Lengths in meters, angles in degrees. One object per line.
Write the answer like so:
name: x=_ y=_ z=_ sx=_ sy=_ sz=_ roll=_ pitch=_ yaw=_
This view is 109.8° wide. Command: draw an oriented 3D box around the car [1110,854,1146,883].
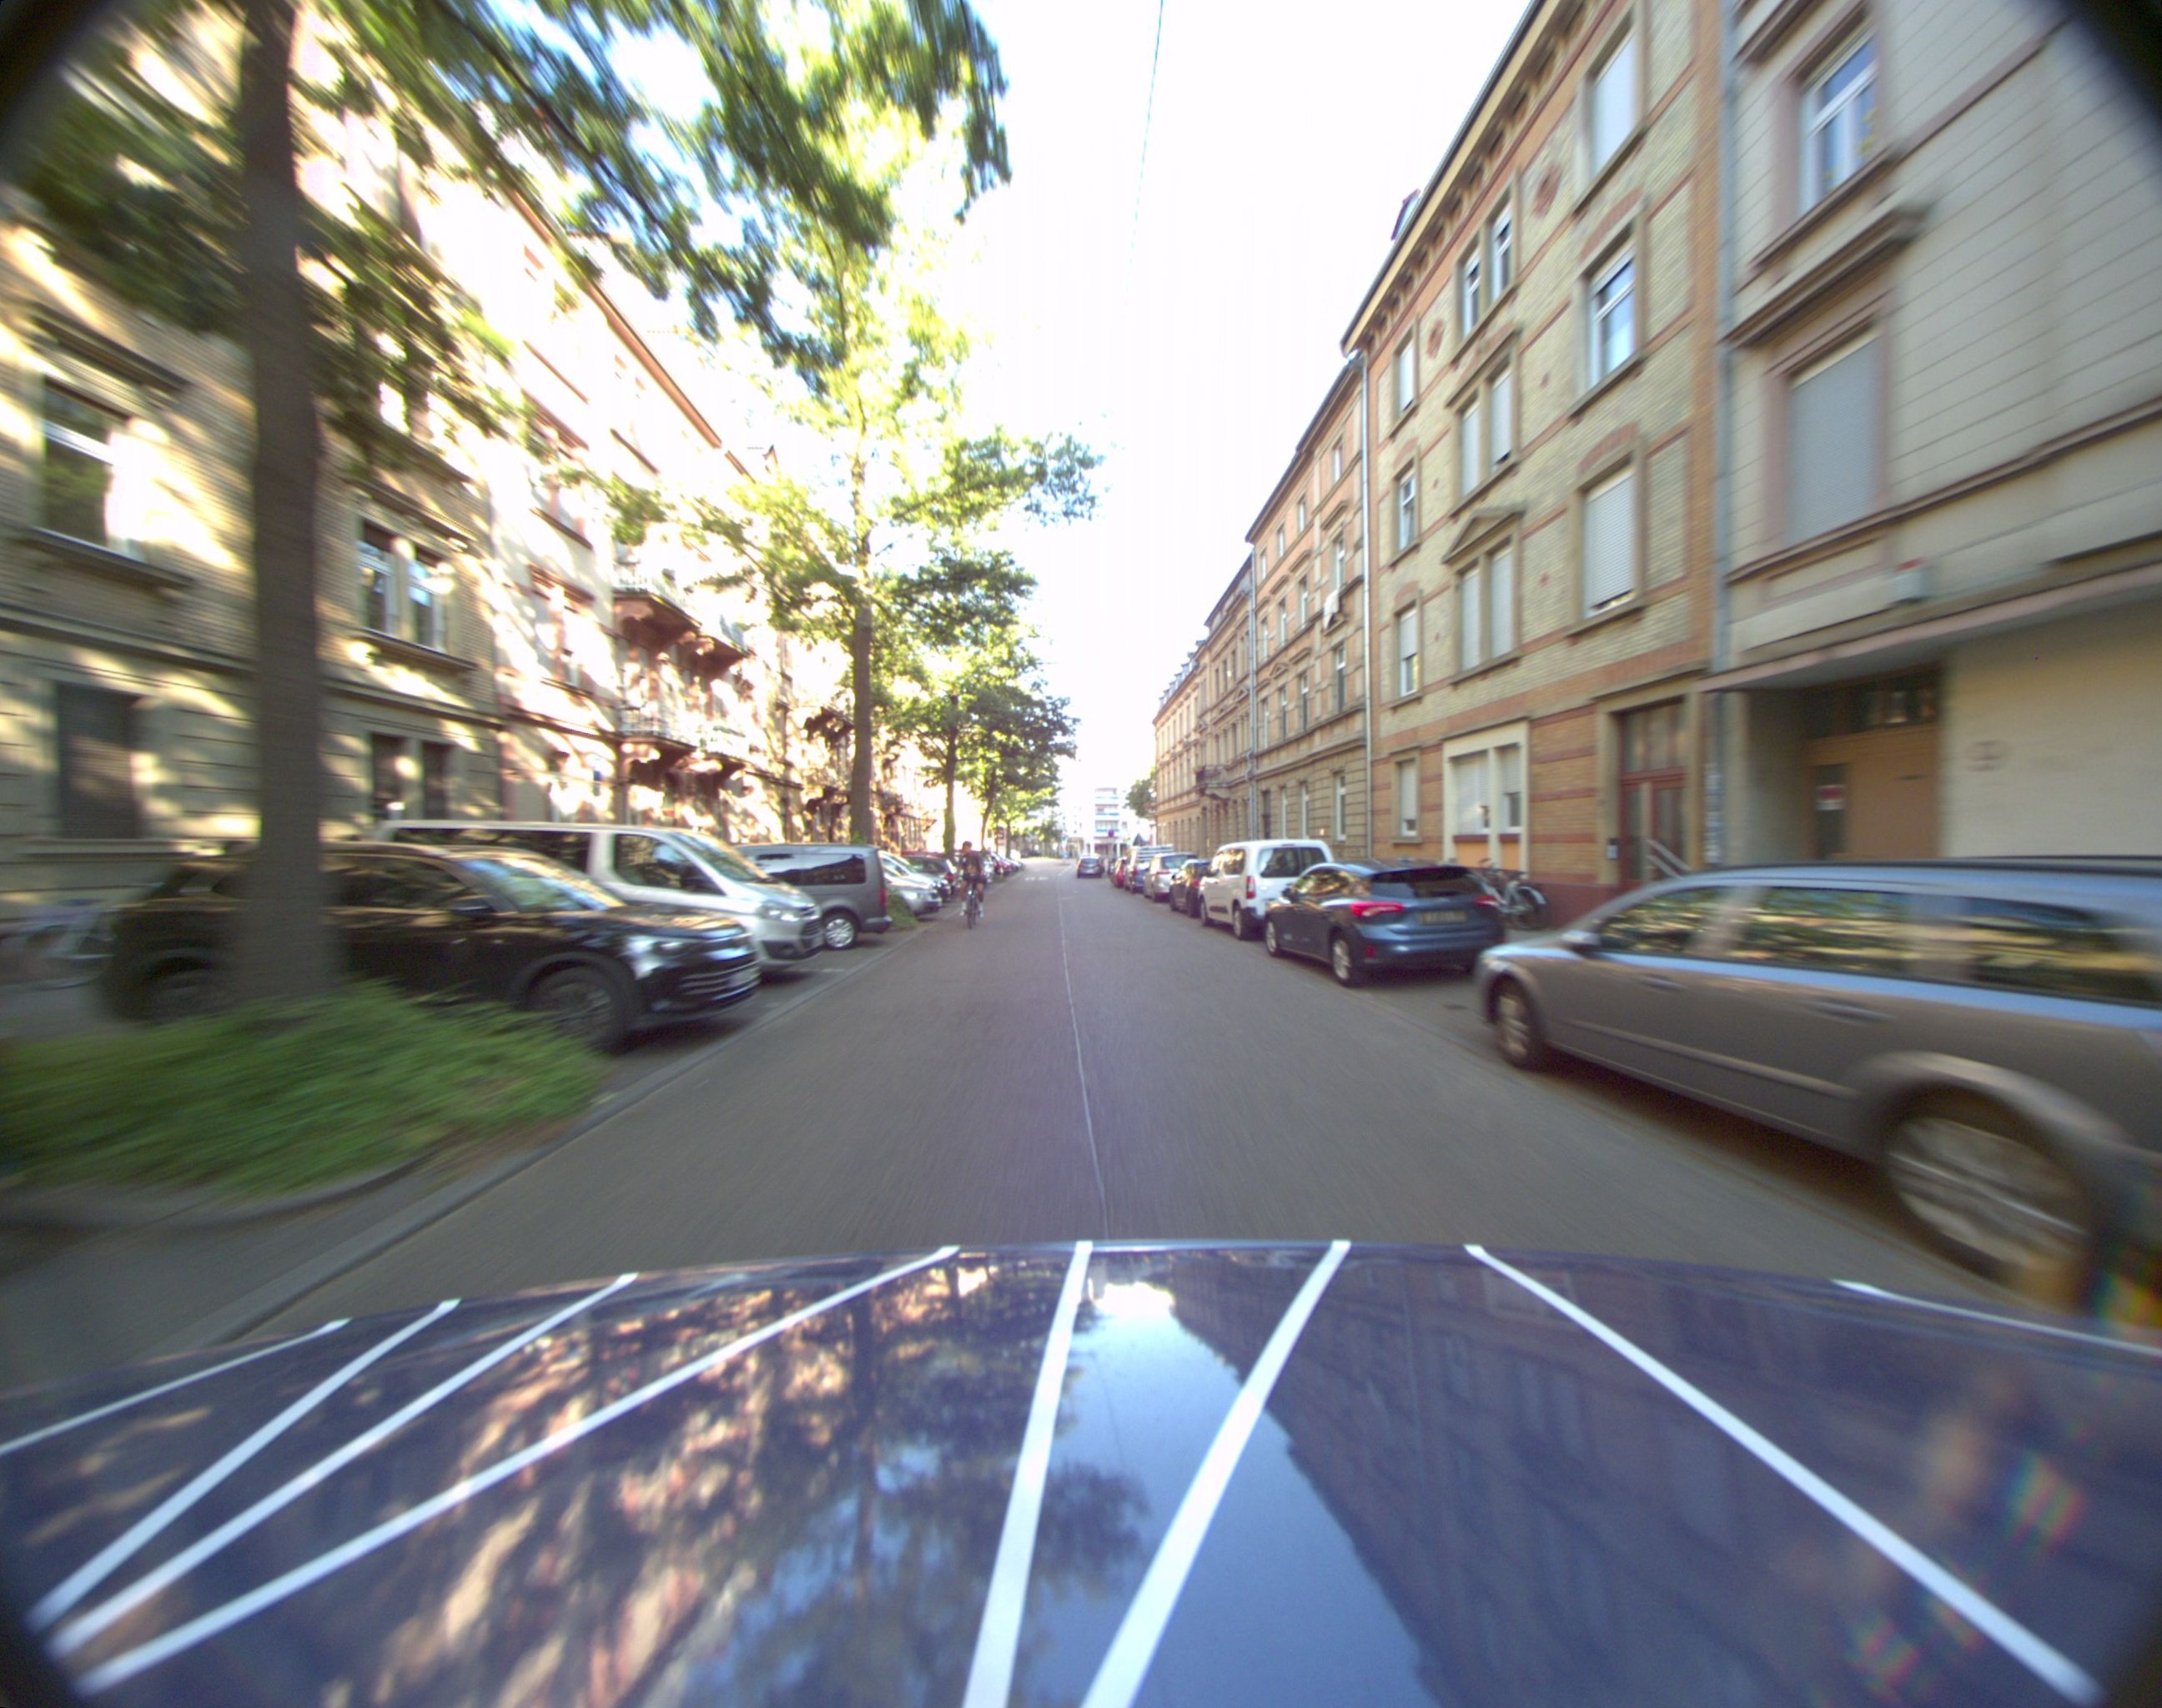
car: x=2.607 y=0.781 z=42.720 sx=1.641 sy=1.482 sz=3.824 roll=-2 pitch=0 yaw=-2

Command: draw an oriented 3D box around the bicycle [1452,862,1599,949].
bicycle: x=7.483 y=0.804 z=12.996 sx=0.630 sy=1.273 sz=2.667 roll=-1 pitch=0 yaw=-9

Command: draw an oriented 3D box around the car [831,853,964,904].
car: x=-6.313 y=0.824 z=26.505 sx=4.244 sy=1.579 sz=1.738 roll=2 pitch=0 yaw=-3

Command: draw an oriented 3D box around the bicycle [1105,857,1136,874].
bicycle: x=2.721 y=0.779 z=51.991 sx=2.043 sy=1.092 sz=0.587 roll=-2 pitch=1 yaw=0

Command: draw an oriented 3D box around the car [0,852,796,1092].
car: x=-5.268 y=0.870 z=6.413 sx=4.934 sy=1.623 sz=2.077 roll=2 pitch=0 yaw=-5

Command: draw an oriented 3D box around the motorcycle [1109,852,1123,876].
motorcycle: x=2.252 y=0.604 z=49.160 sx=0.624 sy=1.482 sz=2.489 roll=-2 pitch=0 yaw=-2

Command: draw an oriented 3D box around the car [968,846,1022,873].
car: x=-6.914 y=0.412 z=61.421 sx=4.057 sy=1.922 sz=1.780 roll=4 pitch=1 yaw=-1

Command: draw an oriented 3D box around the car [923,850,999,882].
car: x=-6.928 y=0.682 z=44.101 sx=4.057 sy=1.612 sz=1.780 roll=4 pitch=1 yaw=-1

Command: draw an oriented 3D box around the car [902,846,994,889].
car: x=-6.381 y=0.643 z=36.817 sx=4.057 sy=1.876 sz=1.781 roll=2 pitch=0 yaw=0

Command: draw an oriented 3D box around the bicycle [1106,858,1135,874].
bicycle: x=2.880 y=0.885 z=54.997 sx=2.043 sy=1.092 sz=0.499 roll=-2 pitch=1 yaw=0

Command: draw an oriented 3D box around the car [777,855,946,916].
car: x=-6.064 y=0.857 z=21.400 sx=4.244 sy=1.594 sz=1.902 roll=1 pitch=0 yaw=-4

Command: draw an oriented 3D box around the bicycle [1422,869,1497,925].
bicycle: x=7.739 y=0.853 z=15.634 sx=0.495 sy=1.017 sz=1.908 roll=-2 pitch=0 yaw=-3

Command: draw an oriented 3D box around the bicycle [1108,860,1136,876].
bicycle: x=3.021 y=1.046 z=56.356 sx=2.043 sy=1.092 sz=0.499 roll=-2 pitch=1 yaw=0

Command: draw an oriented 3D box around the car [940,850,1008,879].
car: x=-6.830 y=0.659 z=48.768 sx=4.057 sy=1.612 sz=1.780 roll=4 pitch=1 yaw=-1

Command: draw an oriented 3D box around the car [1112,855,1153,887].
car: x=2.532 y=0.807 z=38.152 sx=1.641 sy=1.482 sz=3.824 roll=-2 pitch=0 yaw=-2

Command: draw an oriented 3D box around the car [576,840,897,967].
car: x=-5.703 y=0.747 z=13.057 sx=4.684 sy=1.879 sz=1.904 roll=0 pitch=0 yaw=-23

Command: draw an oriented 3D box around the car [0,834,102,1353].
car: x=-5.785 y=0.857 z=1.884 sx=4.135 sy=1.778 sz=1.945 roll=-1 pitch=1 yaw=0

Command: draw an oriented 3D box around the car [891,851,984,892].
car: x=-6.430 y=0.757 z=34.366 sx=3.844 sy=1.673 sz=1.738 roll=2 pitch=0 yaw=0

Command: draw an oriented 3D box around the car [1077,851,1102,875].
car: x=0.622 y=0.651 z=57.591 sx=1.745 sy=1.630 sz=3.824 roll=-2 pitch=0 yaw=0

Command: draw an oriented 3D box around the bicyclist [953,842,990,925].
bicyclist: x=-2.528 y=0.653 z=17.582 sx=0.712 sy=1.865 sz=1.120 roll=0 pitch=1 yaw=-2

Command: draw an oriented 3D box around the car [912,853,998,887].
car: x=-6.455 y=0.785 z=39.247 sx=4.057 sy=1.571 sz=1.781 roll=2 pitch=0 yaw=0

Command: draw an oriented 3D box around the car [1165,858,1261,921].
car: x=3.368 y=0.862 z=20.058 sx=1.641 sy=1.413 sz=3.823 roll=-2 pitch=0 yaw=-3

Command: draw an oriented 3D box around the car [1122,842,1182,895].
car: x=2.956 y=0.582 z=32.633 sx=1.947 sy=2.045 sz=4.743 roll=-2 pitch=0 yaw=-2

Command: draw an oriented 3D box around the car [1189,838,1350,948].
car: x=3.567 y=0.664 z=15.351 sx=1.847 sy=1.823 sz=4.605 roll=-2 pitch=0 yaw=-3

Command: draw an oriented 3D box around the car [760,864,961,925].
car: x=-5.412 y=0.977 z=19.080 sx=4.469 sy=1.360 sz=1.903 roll=1 pitch=0 yaw=0

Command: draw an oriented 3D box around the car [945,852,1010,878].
car: x=-6.957 y=0.736 z=51.401 sx=4.057 sy=1.447 sz=1.780 roll=4 pitch=0 yaw=-1

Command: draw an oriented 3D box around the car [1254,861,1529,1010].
car: x=3.748 y=0.873 z=10.085 sx=1.751 sy=1.464 sz=4.243 roll=-1 pitch=0 yaw=-3

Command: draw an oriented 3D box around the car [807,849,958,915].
car: x=-6.192 y=0.837 z=24.036 sx=4.242 sy=1.875 sz=1.782 roll=-2 pitch=1 yaw=-1

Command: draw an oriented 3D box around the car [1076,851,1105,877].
car: x=0.632 y=0.662 z=52.665 sx=1.868 sy=1.620 sz=3.824 roll=-2 pitch=0 yaw=0

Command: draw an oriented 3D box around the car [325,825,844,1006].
car: x=-5.743 y=0.706 z=9.470 sx=4.934 sy=1.890 sz=2.175 roll=2 pitch=0 yaw=-5

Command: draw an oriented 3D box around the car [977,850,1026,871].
car: x=-6.935 y=0.577 z=66.459 sx=4.057 sy=1.521 sz=1.780 roll=4 pitch=0 yaw=-1

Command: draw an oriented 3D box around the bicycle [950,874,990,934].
bicycle: x=-2.539 y=1.108 z=17.539 sx=0.712 sy=1.252 sz=1.887 roll=0 pitch=0 yaw=-2

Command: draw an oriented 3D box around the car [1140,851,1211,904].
car: x=3.183 y=0.745 z=26.405 sx=1.771 sy=1.648 sz=4.157 roll=-2 pitch=0 yaw=-2

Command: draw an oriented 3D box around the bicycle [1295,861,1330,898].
bicycle: x=7.320 y=0.797 z=24.086 sx=0.465 sy=1.089 sz=1.726 roll=-1 pitch=0 yaw=-4

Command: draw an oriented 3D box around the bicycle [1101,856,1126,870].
bicycle: x=2.648 y=0.734 z=62.224 sx=2.043 sy=1.092 sz=0.499 roll=-2 pitch=1 yaw=0

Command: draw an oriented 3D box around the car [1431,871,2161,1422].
car: x=3.937 y=0.889 z=3.990 sx=1.891 sy=1.436 sz=4.540 roll=-1 pitch=0 yaw=-3

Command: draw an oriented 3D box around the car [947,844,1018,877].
car: x=-6.993 y=0.449 z=54.077 sx=4.700 sy=1.966 sz=1.925 roll=4 pitch=1 yaw=-1

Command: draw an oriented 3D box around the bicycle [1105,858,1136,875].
bicycle: x=2.637 y=0.857 z=51.306 sx=2.043 sy=1.092 sz=0.587 roll=-2 pitch=1 yaw=0
